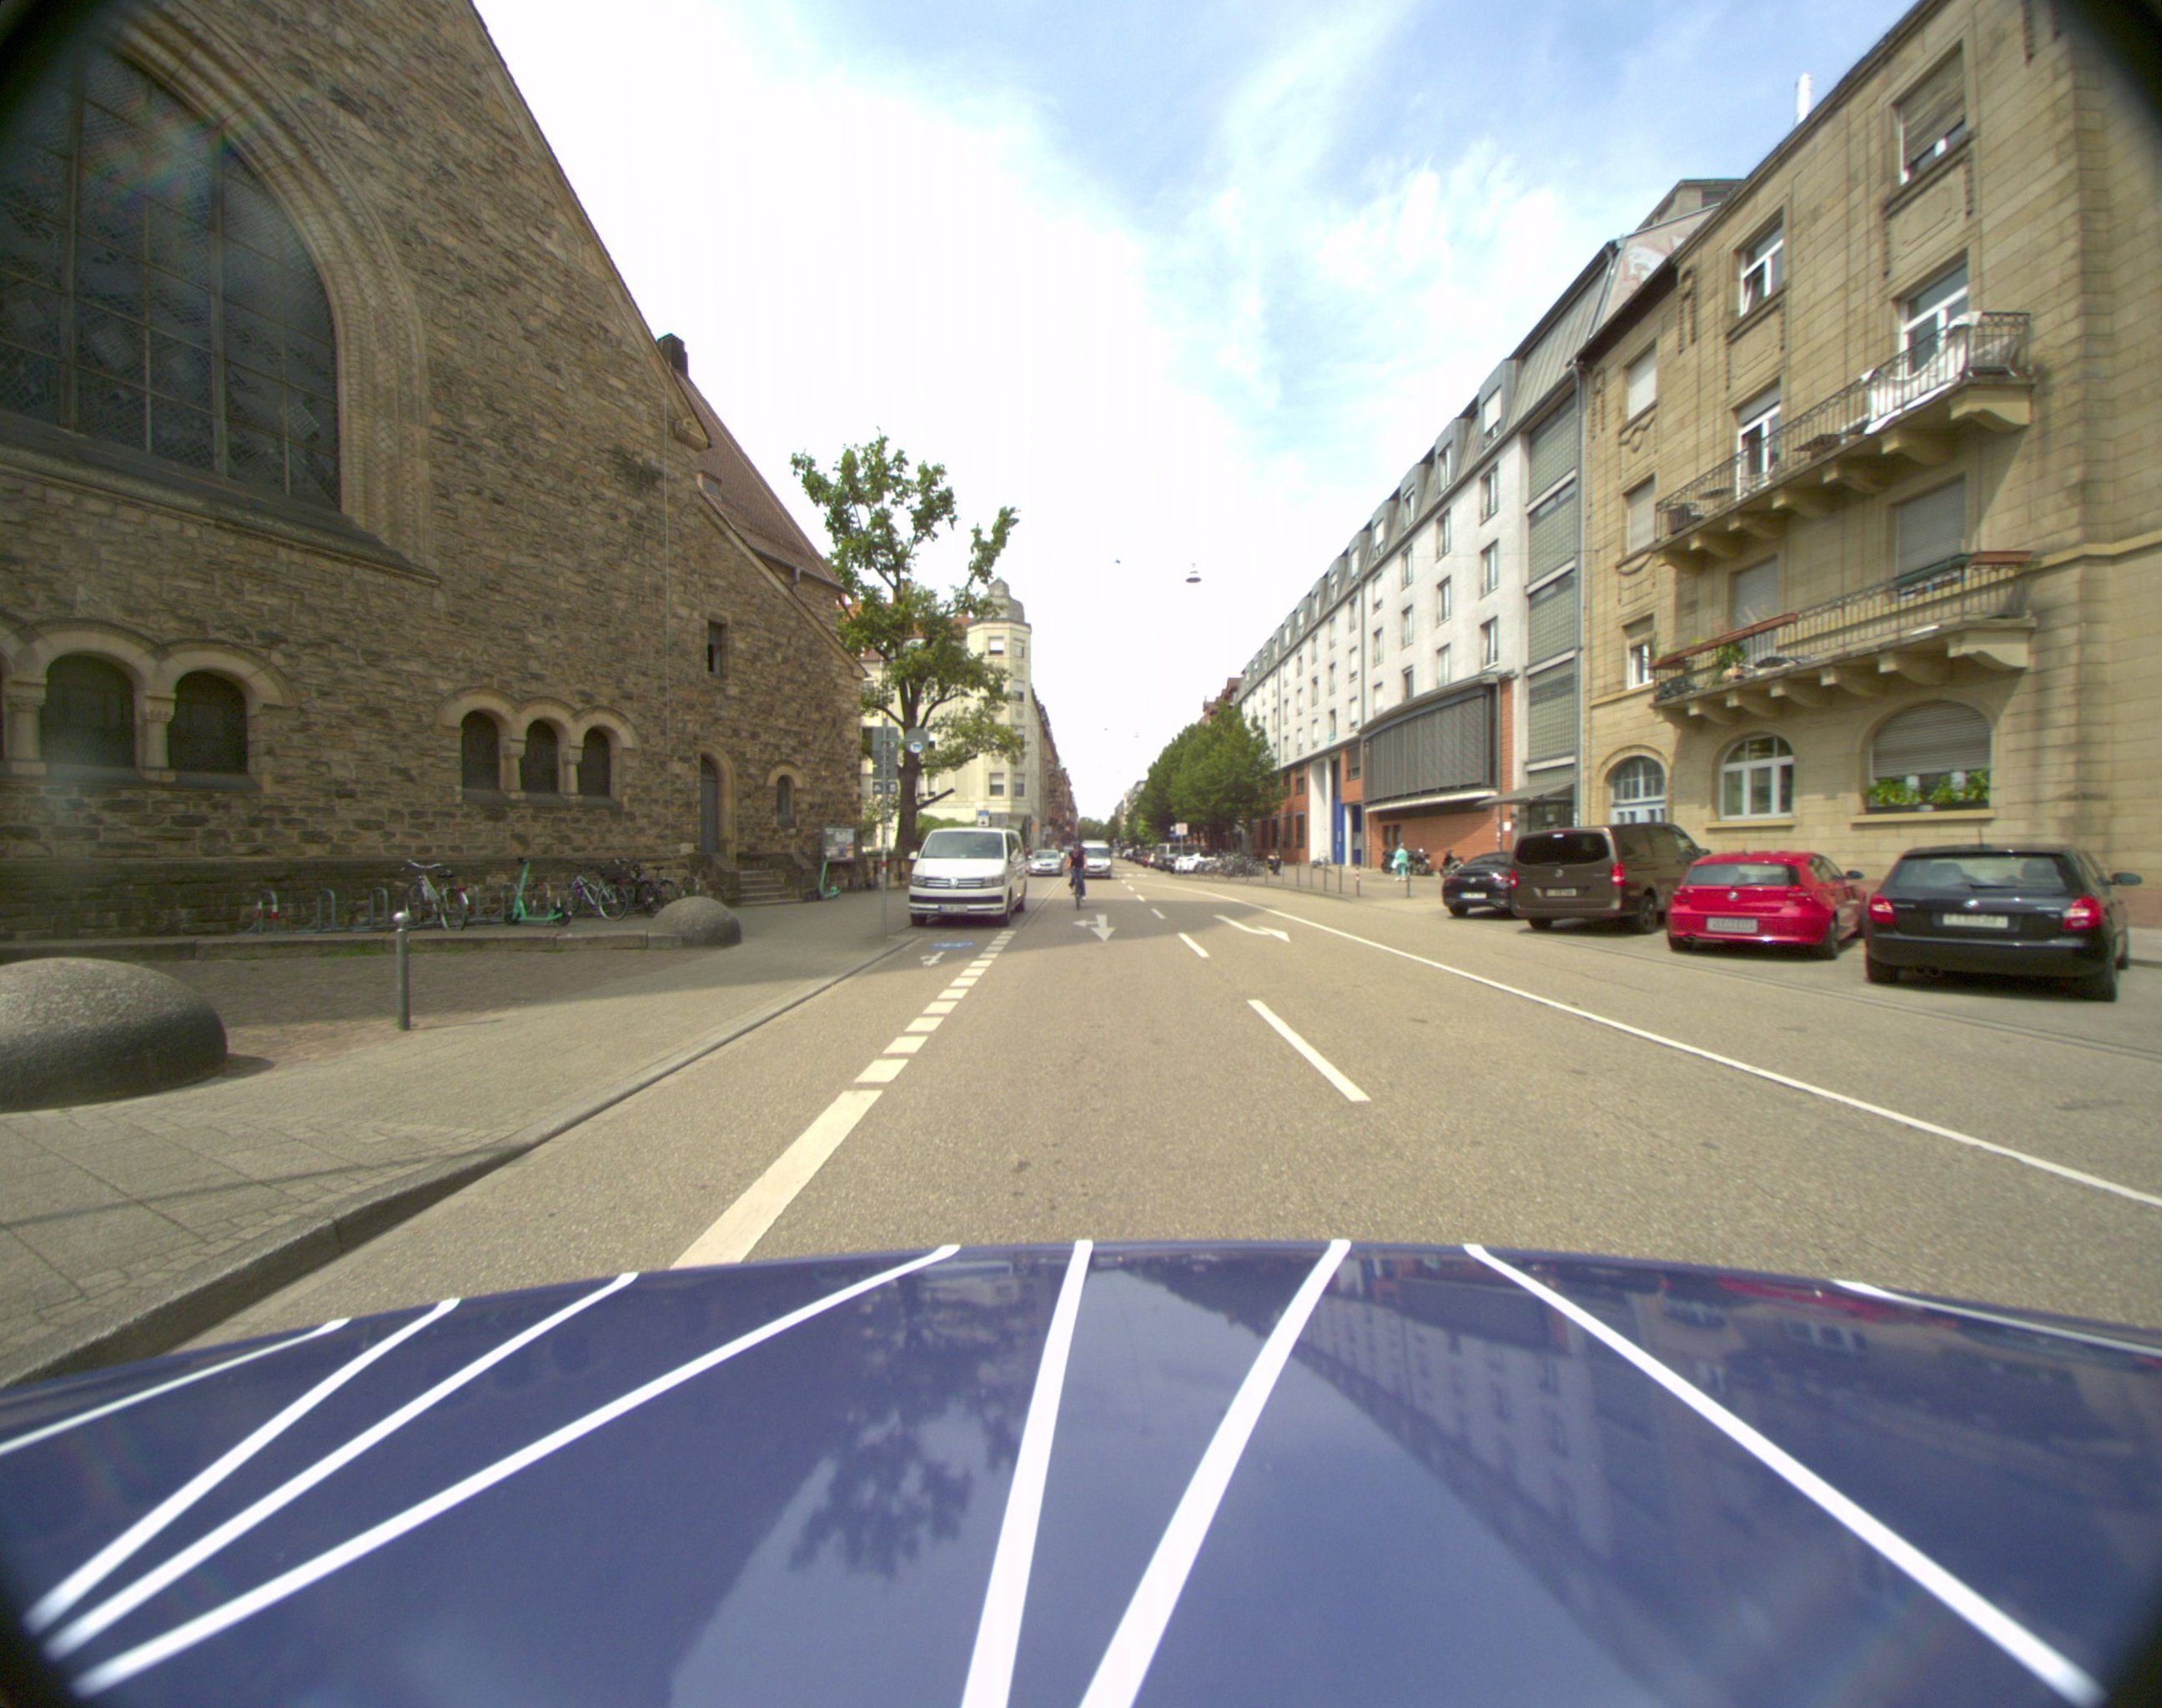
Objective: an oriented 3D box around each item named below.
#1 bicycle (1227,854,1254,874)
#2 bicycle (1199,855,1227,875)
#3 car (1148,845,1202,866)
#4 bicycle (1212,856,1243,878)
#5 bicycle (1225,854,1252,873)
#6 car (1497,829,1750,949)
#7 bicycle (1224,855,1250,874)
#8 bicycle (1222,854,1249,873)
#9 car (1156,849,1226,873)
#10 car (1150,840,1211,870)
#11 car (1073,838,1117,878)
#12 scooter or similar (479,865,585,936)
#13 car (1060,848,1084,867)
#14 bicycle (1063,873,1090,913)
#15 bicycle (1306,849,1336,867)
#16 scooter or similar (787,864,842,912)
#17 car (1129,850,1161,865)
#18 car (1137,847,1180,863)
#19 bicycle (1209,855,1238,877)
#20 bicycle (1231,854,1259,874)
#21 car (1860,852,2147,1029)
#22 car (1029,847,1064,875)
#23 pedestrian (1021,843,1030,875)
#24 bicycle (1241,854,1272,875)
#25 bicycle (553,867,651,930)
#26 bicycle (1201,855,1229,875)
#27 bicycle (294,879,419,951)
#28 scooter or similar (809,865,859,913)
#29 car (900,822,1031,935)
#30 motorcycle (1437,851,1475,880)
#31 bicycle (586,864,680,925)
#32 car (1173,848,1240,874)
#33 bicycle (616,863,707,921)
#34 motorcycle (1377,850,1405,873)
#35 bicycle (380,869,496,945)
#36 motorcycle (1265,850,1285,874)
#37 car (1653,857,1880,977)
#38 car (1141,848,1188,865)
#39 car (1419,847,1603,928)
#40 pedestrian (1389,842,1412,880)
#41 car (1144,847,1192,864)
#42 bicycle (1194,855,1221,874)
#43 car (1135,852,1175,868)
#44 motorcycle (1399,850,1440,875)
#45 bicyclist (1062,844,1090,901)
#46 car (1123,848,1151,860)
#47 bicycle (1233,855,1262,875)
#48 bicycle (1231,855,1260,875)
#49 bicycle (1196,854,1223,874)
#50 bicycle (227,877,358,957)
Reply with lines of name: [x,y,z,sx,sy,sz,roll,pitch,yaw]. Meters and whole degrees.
bicycle: [8.657,0.547,41.256,1.409,1.020,0.402,-1,1,3]
bicycle: [7.192,0.577,41.459,1.409,1.020,0.402,-3,1,3]
car: [7.475,0.126,60.355,4.012,1.605,1.708,-1,0,-32]
bicycle: [7.299,0.633,37.922,1.409,1.032,0.402,-3,1,3]
bicycle: [8.663,0.515,41.741,1.409,1.020,0.402,-1,1,3]
car: [10.319,0.520,14.315,5.280,1.899,2.116,-1,1,-33]
bicycle: [8.710,0.564,42.434,1.409,1.020,0.402,-1,1,3]
bicycle: [8.739,0.534,43.024,1.409,1.020,0.402,-1,1,3]
car: [7.085,0.422,48.807,4.324,1.460,1.713,-1,1,-33]
car: [7.173,0.044,54.642,4.011,1.986,1.857,-3,1,-30]
car: [0.794,0.216,39.047,1.942,1.913,4.007,-1,0,5]
scooter or similar: [-9.316,0.765,12.893,1.778,1.133,0.547,0,1,20]
car: [-0.798,0.316,70.101,1.853,1.661,4.007,-1,0,5]
bicycle: [-0.100,0.963,19.342,0.586,0.927,1.783,-1,0,2]
bicycle: [14.586,0.242,46.200,1.613,0.920,0.932,-6,-1,13]
scooter or similar: [-7.057,0.870,20.189,0.545,1.200,1.483,0,0,21]
car: [8.295,0.429,98.387,4.012,1.847,1.687,-1,0,-32]
car: [7.790,0.118,76.319,4.012,1.558,1.687,-1,0,-32]
bicycle: [7.272,0.594,38.814,1.409,1.032,0.402,-3,1,3]
bicycle: [8.731,0.551,40.437,1.409,1.020,0.402,-1,1,3]
car: [10.272,0.756,8.395,4.004,1.494,1.627,-1,1,-34]
car: [-1.859,0.350,41.948,1.759,1.460,4.418,0,0,0]
pedestrian: [-3.056,0.273,41.746,0.468,1.725,0.410,0,1,1]
bicycle: [8.812,0.514,38.169,1.409,1.020,0.402,-1,1,3]
bicycle: [-8.824,0.792,13.990,1.778,1.105,0.547,0,1,20]
bicycle: [7.186,0.584,40.817,1.409,1.032,0.402,-3,1,3]
bicycle: [-10.424,0.855,10.928,1.778,0.951,0.547,0,1,20]
scooter or similar: [-6.448,0.887,19.883,0.545,1.200,1.444,0,0,14]
car: [-2.250,0.460,16.261,2.019,2.017,5.123,1,0,0]
motorcycle: [14.338,0.430,29.121,0.585,1.042,1.794,-2,0,2]
bicycle: [-8.590,0.761,14.563,1.771,1.105,0.547,0,1,20]
car: [7.704,0.414,46.576,4.013,1.536,1.598,-1,1,-33]
bicycle: [-8.380,0.742,15.179,1.778,1.105,0.547,0,1,20]
motorcycle: [14.440,0.353,35.402,0.585,1.042,1.657,-2,0,0]
bicycle: [-9.972,0.792,11.773,1.778,1.105,0.547,0,1,20]
motorcycle: [9.911,0.410,38.807,0.585,1.166,1.780,-2,0,3]
car: [10.121,0.767,11.135,4.020,1.401,1.792,-1,0,-38]
car: [7.501,0.242,68.152,4.012,1.445,1.687,-1,0,-32]
car: [9.843,0.679,17.245,4.679,1.401,1.895,-4,1,-38]
pedestrian: [12.427,0.277,29.548,0.662,1.477,0.509,-1,1,-1]
car: [7.576,0.155,65.938,4.012,1.381,1.592,-1,0,-32]
bicycle: [7.244,0.601,43.540,1.409,1.020,0.402,-3,1,3]
car: [7.702,0.630,78.944,4.012,1.558,1.687,-1,0,-32]
motorcycle: [14.588,0.365,32.820,0.585,1.042,1.965,-2,0,-10]
bicyclist: [-0.111,0.467,19.356,0.649,1.408,1.094,-1,1,2]
car: [8.581,-0.008,116.494,4.012,1.746,1.687,-1,0,-32]
bicycle: [8.627,0.573,39.417,1.409,1.020,0.402,-1,1,3]
bicycle: [8.659,0.595,39.953,1.409,1.020,0.402,-1,1,3]
bicycle: [7.224,0.567,42.732,1.409,1.020,0.402,-3,1,3]
bicycle: [-10.706,0.824,10.311,1.778,0.952,0.547,2,1,20]
